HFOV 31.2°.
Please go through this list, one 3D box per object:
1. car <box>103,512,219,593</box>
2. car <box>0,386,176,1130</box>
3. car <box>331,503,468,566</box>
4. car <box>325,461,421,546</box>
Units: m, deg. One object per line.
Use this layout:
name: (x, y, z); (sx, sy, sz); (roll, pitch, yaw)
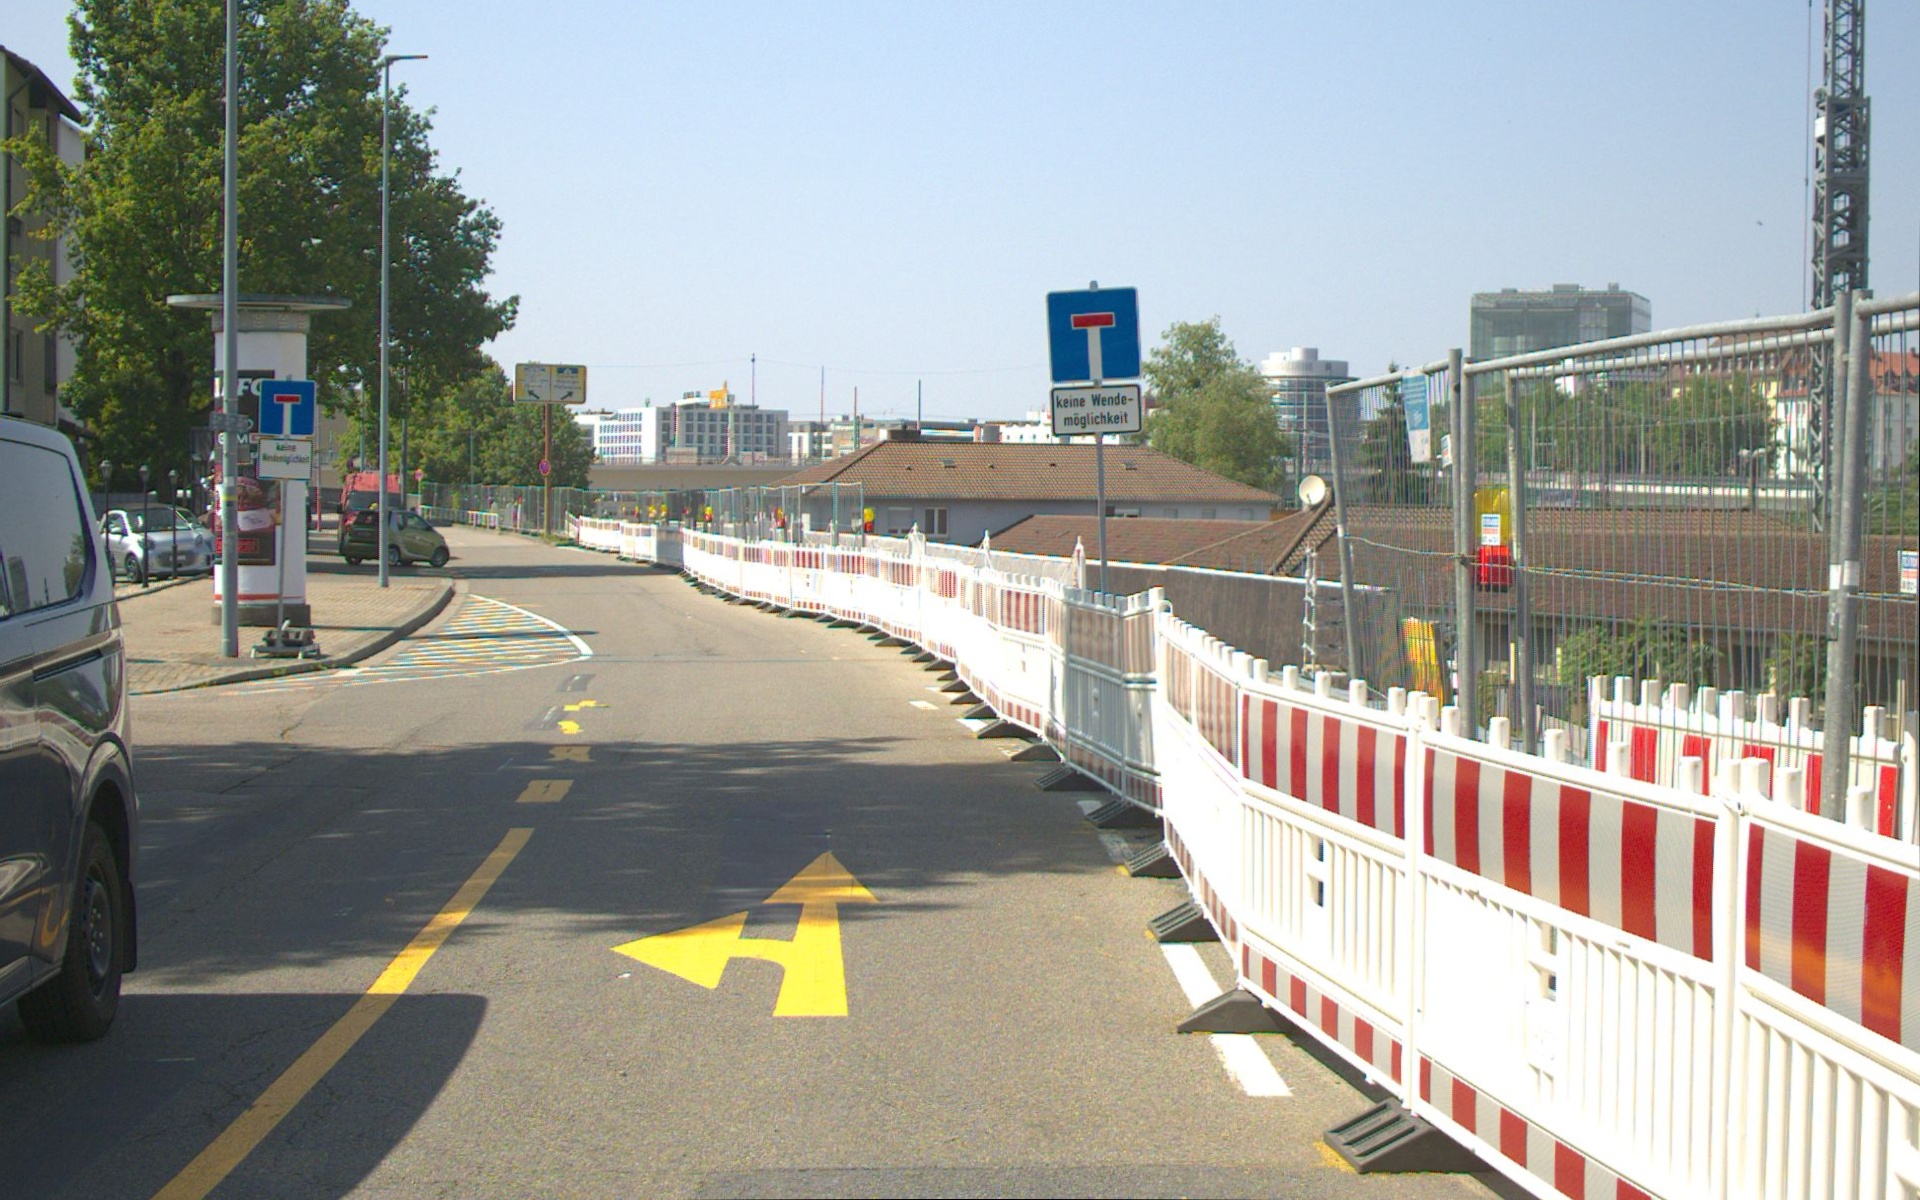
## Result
car: (-16.734, -1.013, 71.904); (1.856, 1.623, 4.001); (0, 1, -20)
car: (-3.613, 0.436, 8.626); (2.176, 1.961, 5.445); (-1, 1, -2)
car: (-15.174, -1.778, 93.094); (1.725, 1.632, 3.272); (2, 1, 43)
car: (-18.208, -2.961, 106.818); (2.537, 2.511, 5.119); (1, 1, -6)
